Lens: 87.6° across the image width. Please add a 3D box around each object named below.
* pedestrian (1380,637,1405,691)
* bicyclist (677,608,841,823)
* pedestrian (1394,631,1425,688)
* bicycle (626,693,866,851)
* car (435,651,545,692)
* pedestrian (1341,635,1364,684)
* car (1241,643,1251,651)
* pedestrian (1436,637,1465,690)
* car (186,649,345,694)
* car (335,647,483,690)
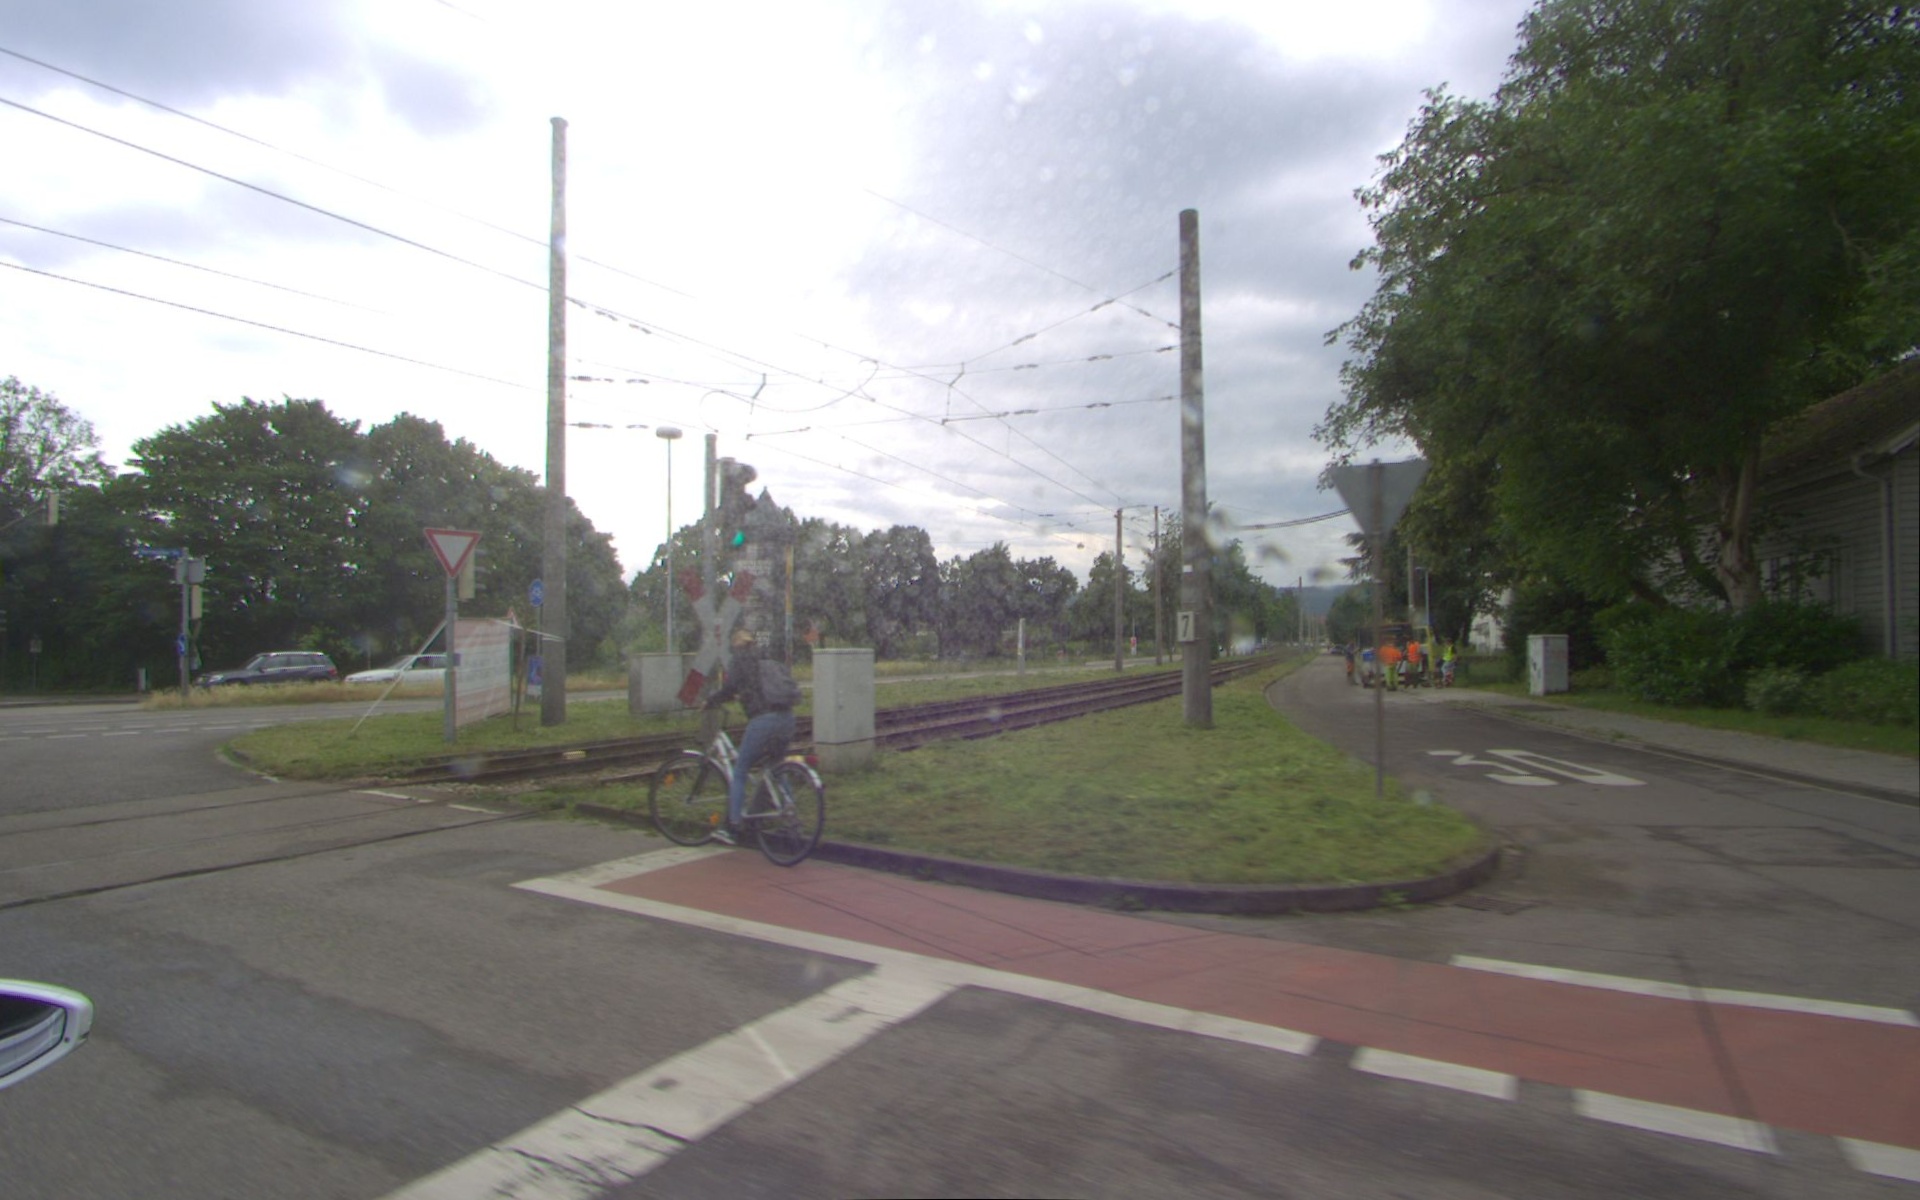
[{"bbox_3d":[14.519,2.150,33.642,0.624,1.784,0.576,-1,-2,12],"label":"pedestrian"},{"bbox_3d":[-1.451,0.823,7.269,0.947,1.441,0.621,-2,-6,31],"label":"bicyclist"},{"bbox_3d":[15.125,2.002,33.673,0.862,1.878,0.676,0,-1,34],"label":"pedestrian"},{"bbox_3d":[-1.601,1.194,7.269,2.001,0.993,0.382,-2,-2,32],"label":"bicycle"},{"bbox_3d":[-20.179,3.044,43.149,1.851,1.638,3.982,-2,-3,31],"label":"car"},{"bbox_3d":[15.351,2.313,39.193,0.757,1.892,0.604,-1,-2,17],"label":"pedestrian"},{"bbox_3d":[65.092,10.636,227.848,1.964,1.829,3.997,-1,-3,16],"label":"car"},{"bbox_3d":[17.615,2.279,35.997,0.598,1.863,0.712,0,-2,-13],"label":"pedestrian"},{"bbox_3d":[-25.440,2.575,36.842,1.820,1.523,4.457,-1,-3,33],"label":"car"},{"bbox_3d":[-18.533,2.268,33.883,1.624,1.374,4.130,-1,-3,33],"label":"car"}]
